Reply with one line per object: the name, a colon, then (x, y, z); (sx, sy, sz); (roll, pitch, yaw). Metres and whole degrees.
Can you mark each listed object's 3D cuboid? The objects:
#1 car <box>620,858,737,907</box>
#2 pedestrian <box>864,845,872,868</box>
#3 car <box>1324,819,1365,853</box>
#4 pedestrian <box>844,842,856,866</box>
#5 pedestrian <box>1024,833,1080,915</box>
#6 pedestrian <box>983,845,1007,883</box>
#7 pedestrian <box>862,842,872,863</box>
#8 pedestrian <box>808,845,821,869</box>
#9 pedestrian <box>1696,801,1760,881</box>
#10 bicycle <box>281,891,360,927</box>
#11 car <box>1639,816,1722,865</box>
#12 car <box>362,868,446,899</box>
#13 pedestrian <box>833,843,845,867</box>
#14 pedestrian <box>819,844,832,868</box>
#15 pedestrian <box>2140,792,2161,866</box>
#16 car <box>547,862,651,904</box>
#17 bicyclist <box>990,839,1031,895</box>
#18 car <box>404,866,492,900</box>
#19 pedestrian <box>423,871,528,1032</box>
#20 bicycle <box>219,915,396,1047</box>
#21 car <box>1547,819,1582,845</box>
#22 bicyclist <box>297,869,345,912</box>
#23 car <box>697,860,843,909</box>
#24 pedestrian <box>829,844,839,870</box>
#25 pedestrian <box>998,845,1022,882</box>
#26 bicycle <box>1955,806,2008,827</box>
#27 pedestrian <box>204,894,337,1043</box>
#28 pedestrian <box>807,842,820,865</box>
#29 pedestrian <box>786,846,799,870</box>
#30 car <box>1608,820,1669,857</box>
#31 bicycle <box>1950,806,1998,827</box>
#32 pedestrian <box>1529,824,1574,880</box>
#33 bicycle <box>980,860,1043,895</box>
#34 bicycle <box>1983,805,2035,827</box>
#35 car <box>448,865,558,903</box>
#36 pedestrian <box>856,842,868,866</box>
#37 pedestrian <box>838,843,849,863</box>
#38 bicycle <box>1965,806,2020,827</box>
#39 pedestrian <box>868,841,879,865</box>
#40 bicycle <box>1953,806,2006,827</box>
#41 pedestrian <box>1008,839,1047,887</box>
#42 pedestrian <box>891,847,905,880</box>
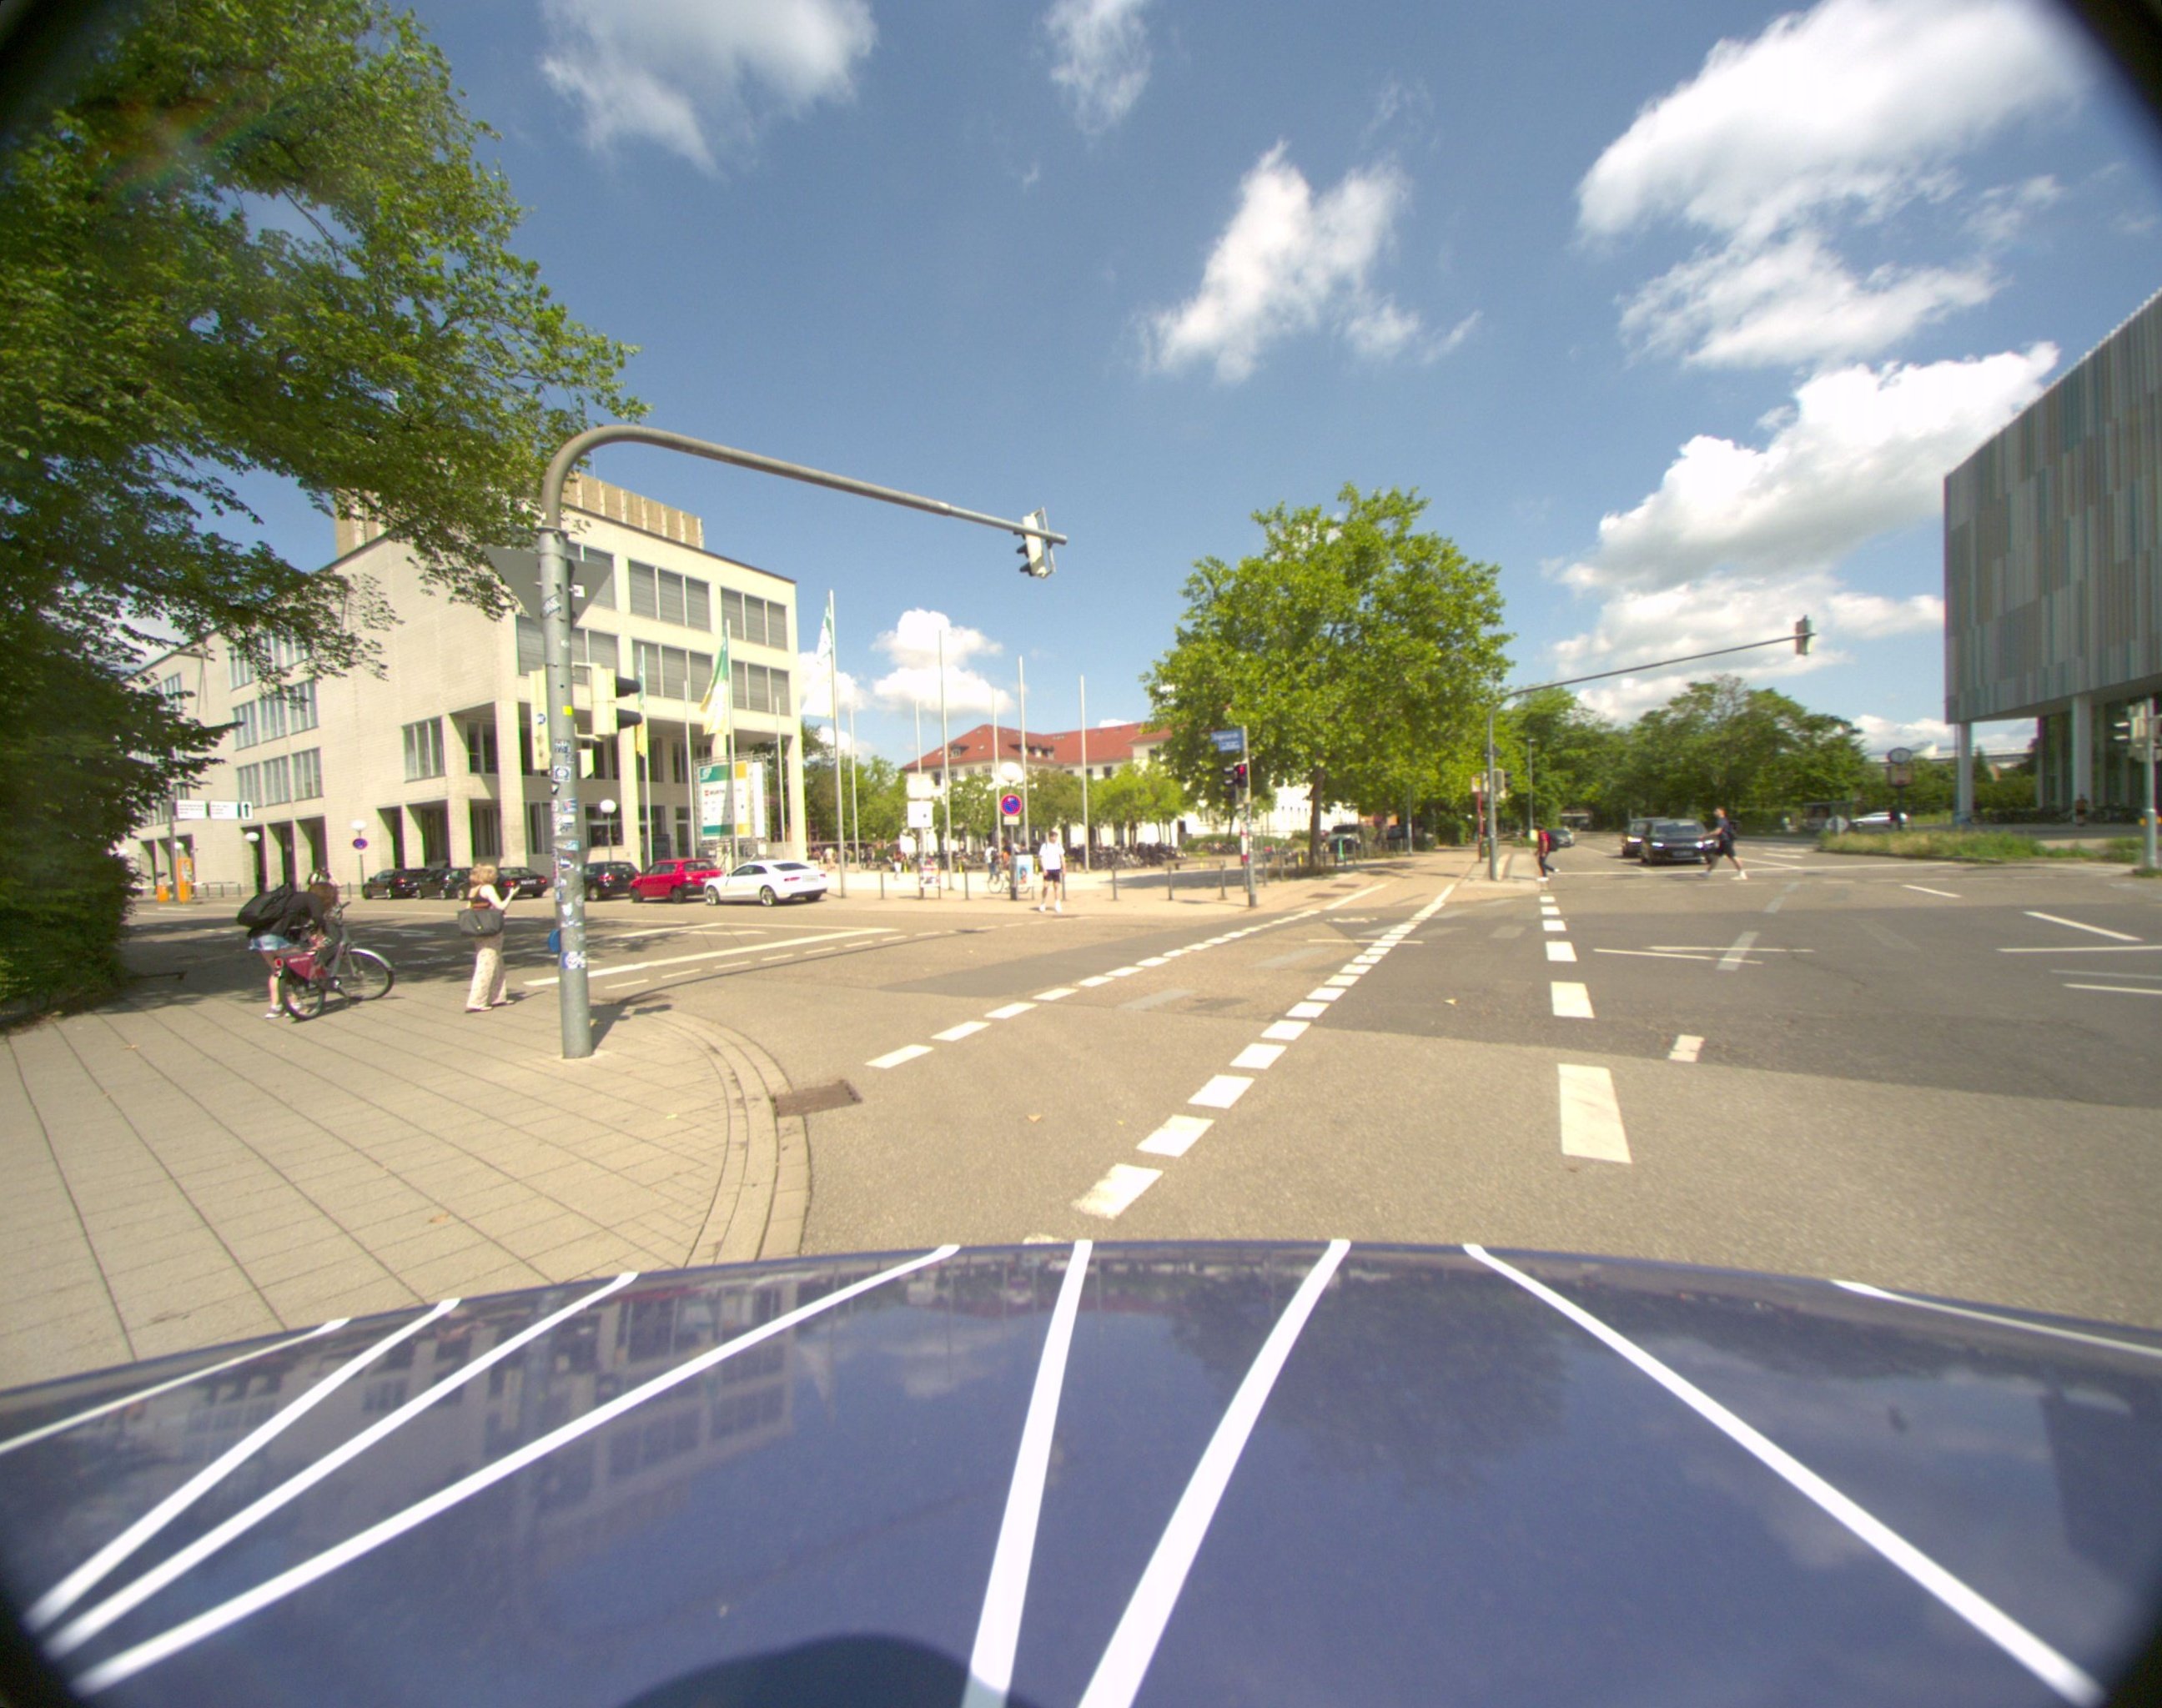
car: (-14.281, 0.992, 26.952); (3.807, 1.548, 1.776); (-2, 2, 28)
pedestrian: (-14.931, 0.164, 53.262); (0.473, 1.527, 0.561); (-3, 2, -20)
car: (17.150, -1.177, 49.314); (1.995, 2.043, 4.235); (-2, 1, 25)
pedestrian: (-18.823, 0.023, 61.924); (0.675, 1.892, 0.802); (-3, 2, -1)
pedestrian: (-0.677, 0.463, 18.135); (0.876, 1.862, 0.973); (-2, 2, 29)
pedestrian: (-3.830, 0.434, 33.724); (0.685, 1.613, 0.833); (-4, 2, -31)
pedestrian: (-19.865, -0.158, 70.509); (0.675, 1.892, 0.802); (-3, 2, -1)
pedestrian: (-21.419, 0.224, 61.152); (0.675, 1.892, 0.802); (-3, 2, -1)
pedestrian: (16.070, -0.329, 18.870); (0.973, 1.915, 1.029); (-4, 2, -39)
bicycle: (-22.607, 1.644, 22.588); (2.159, 0.993, 0.648); (-2, 1, 16)
car: (21.314, -0.512, 27.168); (1.842, 1.593, 4.007); (-1, 1, 31)
car: (-33.276, 1.448, 37.337); (4.136, 1.388, 1.694); (-2, 2, 28)
pedestrian: (-19.613, 0.078, 61.575); (0.675, 1.892, 0.802); (-3, 2, -1)
pedestrian: (-20.605, 0.181, 61.365); (0.675, 1.892, 0.802); (-3, 2, -1)
pedestrian: (24.003, -0.559, 16.459); (0.877, 1.619, 0.973); (-2, 2, 26)
car: (-18.800, 1.127, 29.626); (3.919, 1.439, 1.745); (-2, 2, 31)
bicyclist: (-2.388, 0.433, 25.768); (1.085, 1.843, 0.686); (-1, 2, 29)
car: (-29.460, 1.356, 35.373); (3.707, 1.422, 1.803); (-2, 2, 28)
pedestrian: (-6.541, 1.014, 8.243); (0.646, 1.617, 0.634); (-3, 2, -21)
bicycle: (-8.170, 1.278, 8.131); (0.672, 1.136, 1.661); (0, -1, -20)
car: (35.379, -1.621, 55.644); (1.909, 1.773, 4.007); (-1, 1, 29)
bicyclist: (-22.543, 1.076, 22.542); (0.832, 1.219, 0.619); (-2, 1, 16)
car: (-9.927, 0.952, 24.203); (4.431, 1.389, 1.837); (-2, 1, 29)
pedestrian: (-16.952, 0.198, 52.091); (0.473, 1.704, 0.382); (-3, 2, 0)
pedestrian: (-3.192, 0.405, 34.128); (0.686, 1.613, 0.833); (-4, 2, -33)
bicycle: (68.048, -2.823, 57.432); (2.506, 1.486, 0.622); (-1, 2, 34)
pedestrian: (-8.426, 1.148, 7.939); (0.656, 1.409, 0.786); (0, 1, -21)
pedestrian: (-23.304, -0.056, 66.205); (0.675, 1.892, 0.802); (-3, 2, -1)
pedestrian: (-23.084, 0.307, 60.826); (0.675, 1.892, 0.802); (-3, 2, -1)
car: (25.177, -0.739, 34.447); (1.842, 1.528, 4.007); (-1, 1, 31)
bicycle: (69.295, -2.922, 58.993); (2.298, 1.486, 0.658); (-1, 2, 34)
pedestrian: (13.793, -0.070, 22.306); (1.061, 1.588, 0.973); (-2, 2, 29)
bicycle: (-2.364, 0.787, 25.805); (2.048, 1.128, 0.691); (-2, 1, 30)
bicycle: (67.070, -2.712, 54.934); (2.325, 1.486, 0.622); (-1, 2, 34)
car: (-24.837, 1.280, 32.638); (4.390, 1.432, 2.005); (-2, 2, 28)
pedestrian: (-17.889, -0.008, 61.991); (0.675, 1.892, 0.802); (-3, 2, -1)
pedestrian: (-22.783, -0.115, 72.910); (0.675, 1.892, 0.802); (-3, 2, -1)
bicycle: (67.756, -2.785, 56.510); (2.506, 1.486, 0.622); (-1, 2, 34)
pedestrian: (-17.176, -0.084, 62.904); (0.675, 1.892, 0.802); (-3, 2, -1)
bicycle: (68.518, -2.860, 57.962); (2.506, 1.486, 0.622); (-1, 2, 34)
pedestrian: (-2.138, 0.350, 30.370); (1.318, 1.838, 0.702); (-3, 1, 31)
pedestrian: (-9.064, 0.469, 37.642); (0.539, 1.581, 0.435); (-3, 2, -20)
